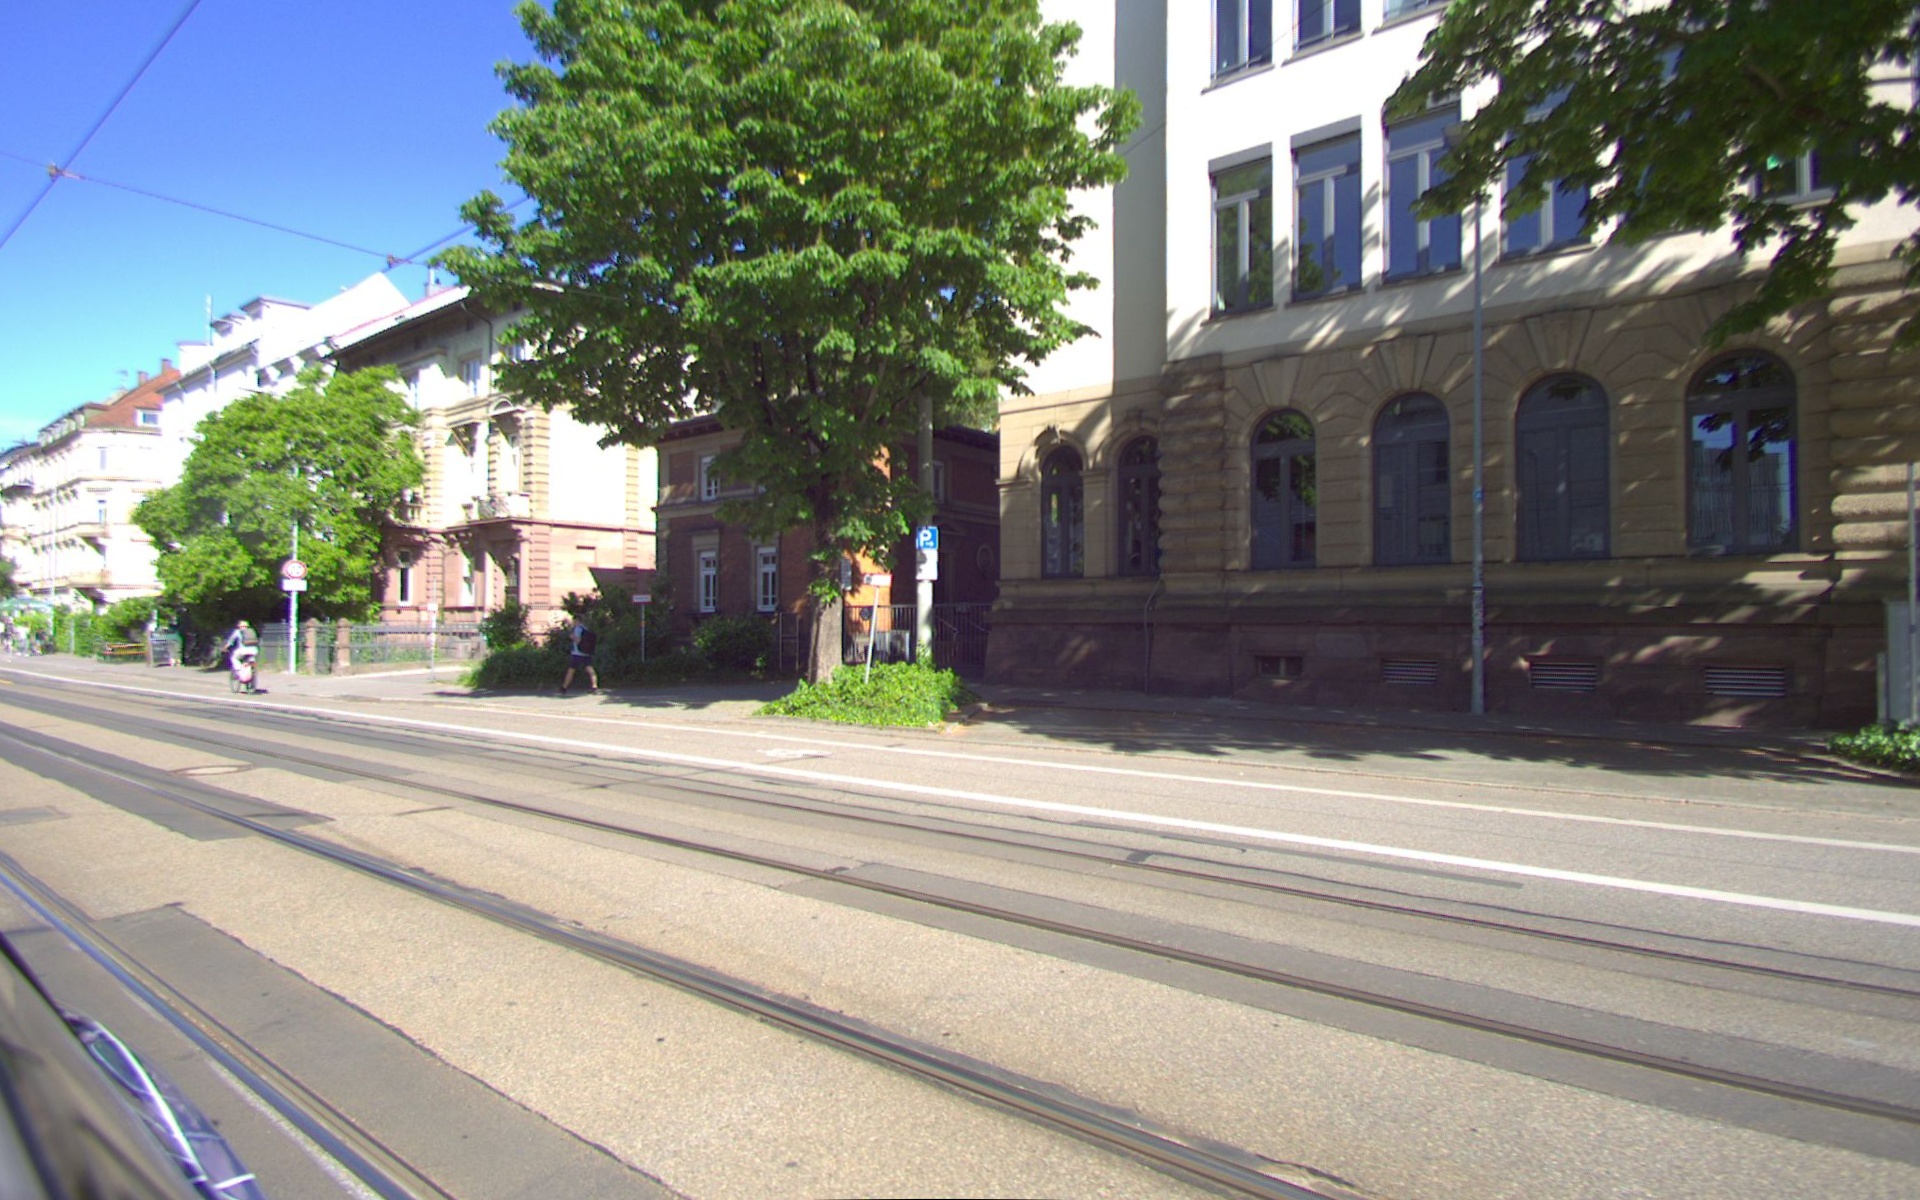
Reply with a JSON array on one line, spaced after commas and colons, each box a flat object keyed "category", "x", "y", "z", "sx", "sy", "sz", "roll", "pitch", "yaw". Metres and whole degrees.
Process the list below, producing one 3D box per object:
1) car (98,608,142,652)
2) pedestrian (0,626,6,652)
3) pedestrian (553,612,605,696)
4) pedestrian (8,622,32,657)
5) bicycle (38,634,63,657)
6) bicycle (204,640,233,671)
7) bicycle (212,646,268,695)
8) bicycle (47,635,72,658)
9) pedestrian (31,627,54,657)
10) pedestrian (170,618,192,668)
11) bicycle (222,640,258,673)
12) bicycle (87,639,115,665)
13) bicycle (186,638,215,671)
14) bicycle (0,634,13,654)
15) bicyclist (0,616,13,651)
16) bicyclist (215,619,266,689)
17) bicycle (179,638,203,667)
[{"category": "car", "x": -57.973, "y": 2.036, "z": 69.893, "sx": 1.861, "sy": 2.862, "sz": 4.795, "roll": 2, "pitch": -1, "yaw": -35}, {"category": "pedestrian", "x": -64.662, "y": 2.605, "z": 67.758, "sx": 0.683, "sy": 1.781, "sz": 0.867, "roll": 0, "pitch": -2, "yaw": -7}, {"category": "pedestrian", "x": -8.438, "y": 1.187, "z": 22.424, "sx": 0.772, "sy": 1.810, "sz": 0.728, "roll": -1, "pitch": 0, "yaw": 14}, {"category": "pedestrian", "x": -47.293, "y": 1.998, "z": 50.921, "sx": 0.807, "sy": 1.727, "sz": 0.747, "roll": -2, "pitch": -1, "yaw": 39}, {"category": "bicycle", "x": -47.842, "y": 2.390, "z": 53.231, "sx": 1.838, "sy": 1.097, "sz": 0.655, "roll": 0, "pitch": 1, "yaw": 39}, {"category": "bicycle", "x": -26.178, "y": 1.944, "z": 35.725, "sx": 0.583, "sy": 1.053, "sz": 1.906, "roll": 0, "pitch": -1, "yaw": -44}, {"category": "bicycle", "x": -17.469, "y": 1.689, "z": 24.536, "sx": 1.931, "sy": 1.133, "sz": 0.679, "roll": -2, "pitch": -4, "yaw": 42}, {"category": "bicycle", "x": -46.294, "y": 2.386, "z": 52.020, "sx": 1.838, "sy": 1.097, "sz": 0.655, "roll": 0, "pitch": 1, "yaw": 39}, {"category": "pedestrian", "x": -46.734, "y": 2.127, "z": 51.556, "sx": 0.955, "sy": 1.489, "sz": 0.747, "roll": -2, "pitch": -1, "yaw": 39}, {"category": "pedestrian", "x": -29.233, "y": 1.594, "z": 37.980, "sx": 0.567, "sy": 1.845, "sz": 0.691, "roll": 1, "pitch": -2, "yaw": -33}, {"category": "bicycle", "x": -24.398, "y": 1.897, "z": 34.292, "sx": 1.904, "sy": 1.053, "sz": 0.583, "roll": -1, "pitch": -1, "yaw": 42}, {"category": "bicycle", "x": -37.921, "y": 2.291, "z": 44.663, "sx": 1.741, "sy": 1.067, "sz": 0.632, "roll": -2, "pitch": 0, "yaw": 39}, {"category": "bicycle", "x": -27.968, "y": 1.996, "z": 37.255, "sx": 0.638, "sy": 1.152, "sz": 1.906, "roll": -1, "pitch": 0, "yaw": -44}, {"category": "bicycle", "x": -51.687, "y": 2.368, "z": 54.626, "sx": 0.695, "sy": 1.063, "sz": 1.839, "roll": 2, "pitch": -1, "yaw": -39}, {"category": "bicyclist", "x": -51.682, "y": 1.808, "z": 54.643, "sx": 0.695, "sy": 1.868, "sz": 0.988, "roll": 2, "pitch": -1, "yaw": -39}, {"category": "bicyclist", "x": -17.476, "y": 1.300, "z": 24.572, "sx": 1.237, "sy": 1.657, "sz": 0.679, "roll": -2, "pitch": -4, "yaw": 42}, {"category": "bicycle", "x": -29.036, "y": 1.980, "z": 38.230, "sx": 0.628, "sy": 1.053, "sz": 2.027, "roll": 1, "pitch": -2, "yaw": -35}]
